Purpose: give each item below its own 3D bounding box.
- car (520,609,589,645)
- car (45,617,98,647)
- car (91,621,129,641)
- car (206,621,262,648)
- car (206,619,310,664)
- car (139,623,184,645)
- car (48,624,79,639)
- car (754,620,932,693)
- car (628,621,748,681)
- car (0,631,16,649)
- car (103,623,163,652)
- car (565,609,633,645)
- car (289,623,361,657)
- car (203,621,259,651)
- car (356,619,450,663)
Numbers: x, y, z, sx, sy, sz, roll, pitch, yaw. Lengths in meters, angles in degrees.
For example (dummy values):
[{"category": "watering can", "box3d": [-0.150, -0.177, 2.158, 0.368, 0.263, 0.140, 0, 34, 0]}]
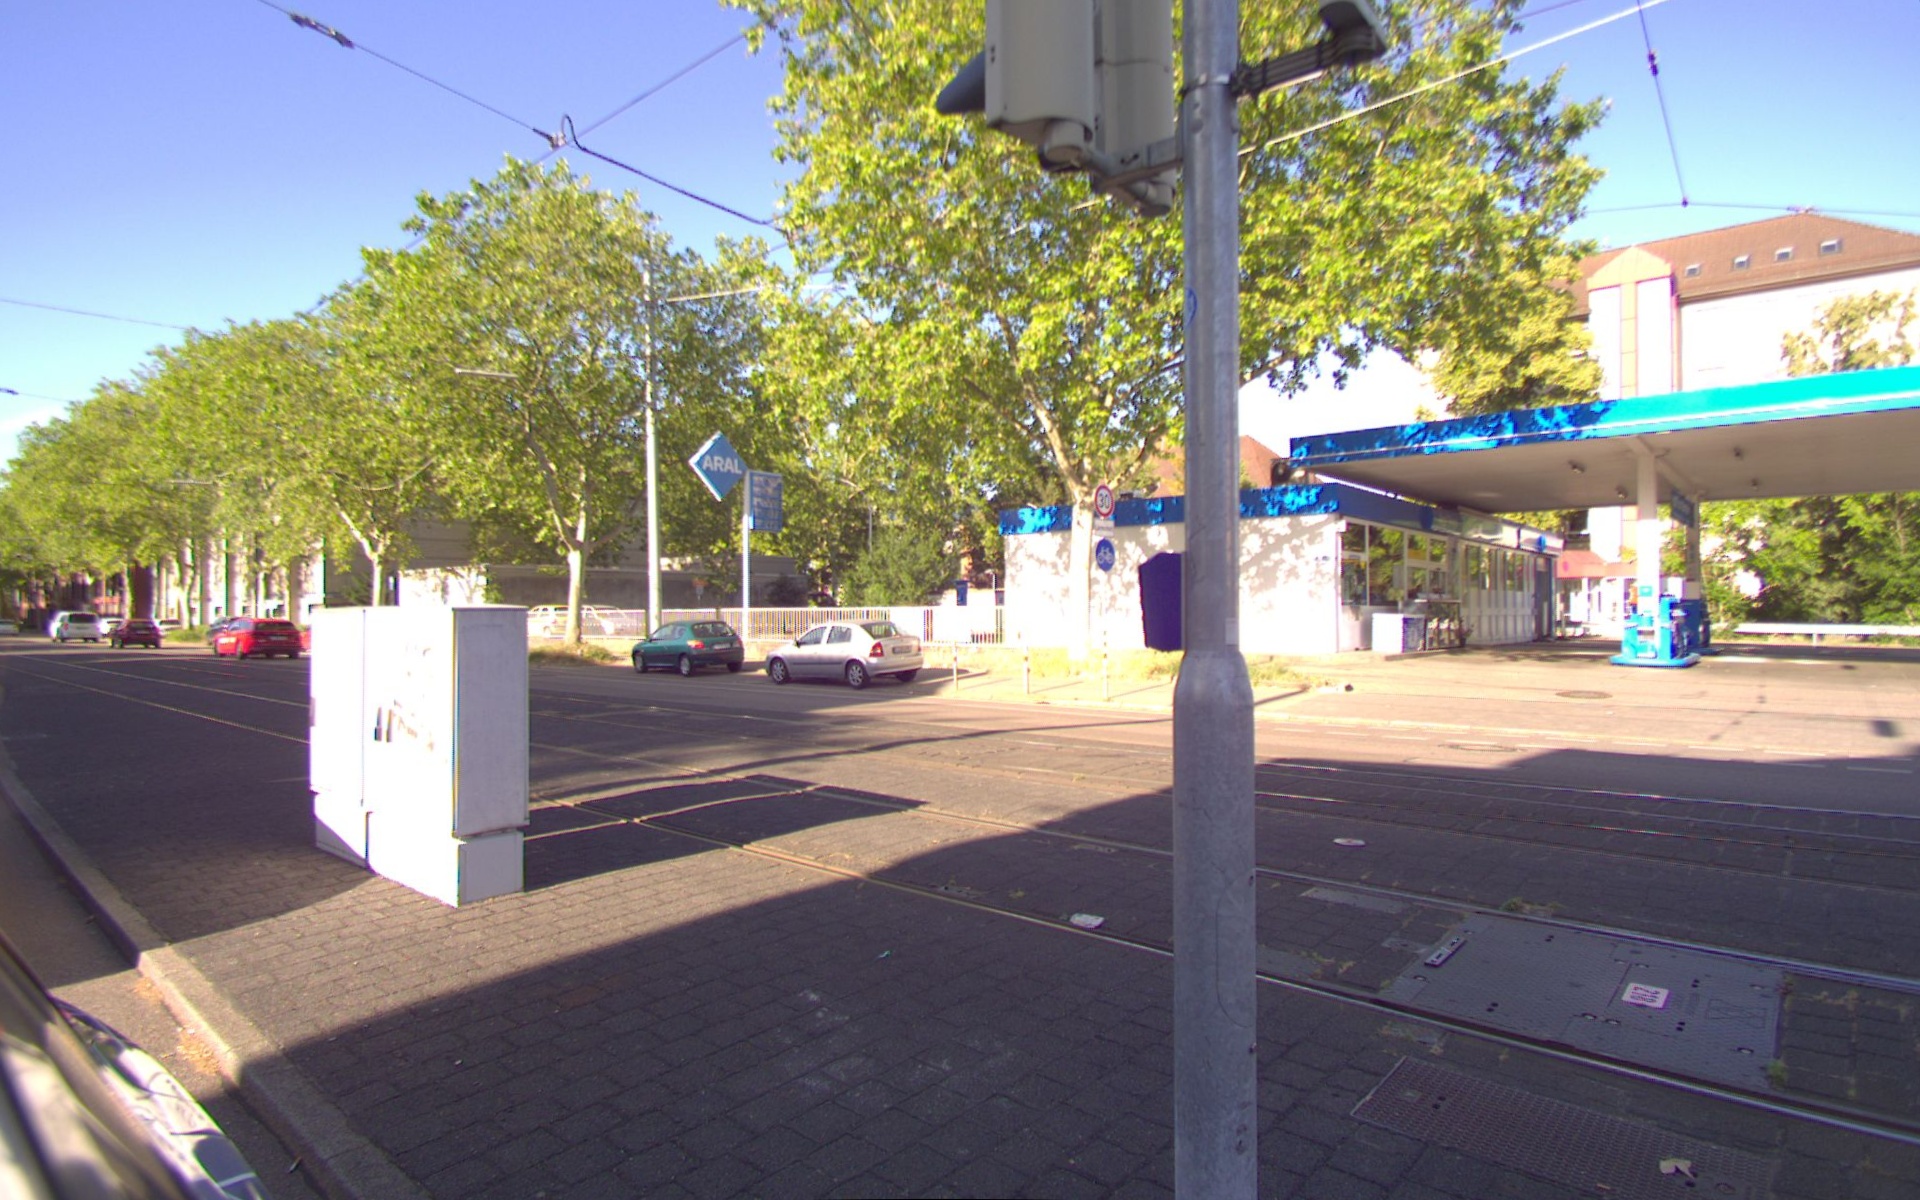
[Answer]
[{"category": "car", "box3d": [-16.849, 1.099, 41.990, 3.151, 1.431, 1.525, -1, 0, 44]}, {"category": "car", "box3d": [-56.672, 2.031, 64.551, 4.390, 1.860, 1.827, -1, -2, 39]}, {"category": "car", "box3d": [-66.815, 2.420, 79.552, 3.998, 1.569, 1.678, -1, -2, 41]}, {"category": "car", "box3d": [-40.604, 1.892, 56.580, 3.998, 1.420, 1.678, -1, -2, 41]}, {"category": "car", "box3d": [-25.392, 1.473, 36.548, 4.761, 1.534, 1.887, -1, -2, 40]}, {"category": "car", "box3d": [-53.814, 2.295, 68.204, 3.998, 1.420, 1.678, -1, -2, 41]}, {"category": "car", "box3d": [-85.185, 2.980, 96.169, 3.998, 1.420, 1.678, -1, -2, 41]}, {"category": "car", "box3d": [-2.670, 1.201, 22.623, 3.998, 1.431, 1.709, -1, 0, 41]}, {"category": "car", "box3d": [-7.243, 1.303, 26.862, 3.253, 1.431, 1.526, -1, 0, 41]}, {"category": "car", "box3d": [-84.329, 3.495, 88.853, 3.998, 1.507, 1.741, -1, 0, 41]}, {"category": "car", "box3d": [-42.294, 1.907, 51.752, 3.998, 1.431, 1.678, -1, -3, 41]}, {"category": "car", "box3d": [-15.323, 1.108, 42.904, 3.151, 1.431, 1.525, -1, 0, 44]}, {"category": "car", "box3d": [-29.001, 1.795, 46.184, 3.998, 1.480, 1.678, -1, -2, 41]}, {"category": "car", "box3d": [-40.739, 1.985, 56.539, 3.998, 1.587, 1.678, -1, -2, 41]}, {"category": "car", "box3d": [-22.179, 1.589, 40.237, 4.431, 1.534, 1.731, -1, 3, 40]}]
